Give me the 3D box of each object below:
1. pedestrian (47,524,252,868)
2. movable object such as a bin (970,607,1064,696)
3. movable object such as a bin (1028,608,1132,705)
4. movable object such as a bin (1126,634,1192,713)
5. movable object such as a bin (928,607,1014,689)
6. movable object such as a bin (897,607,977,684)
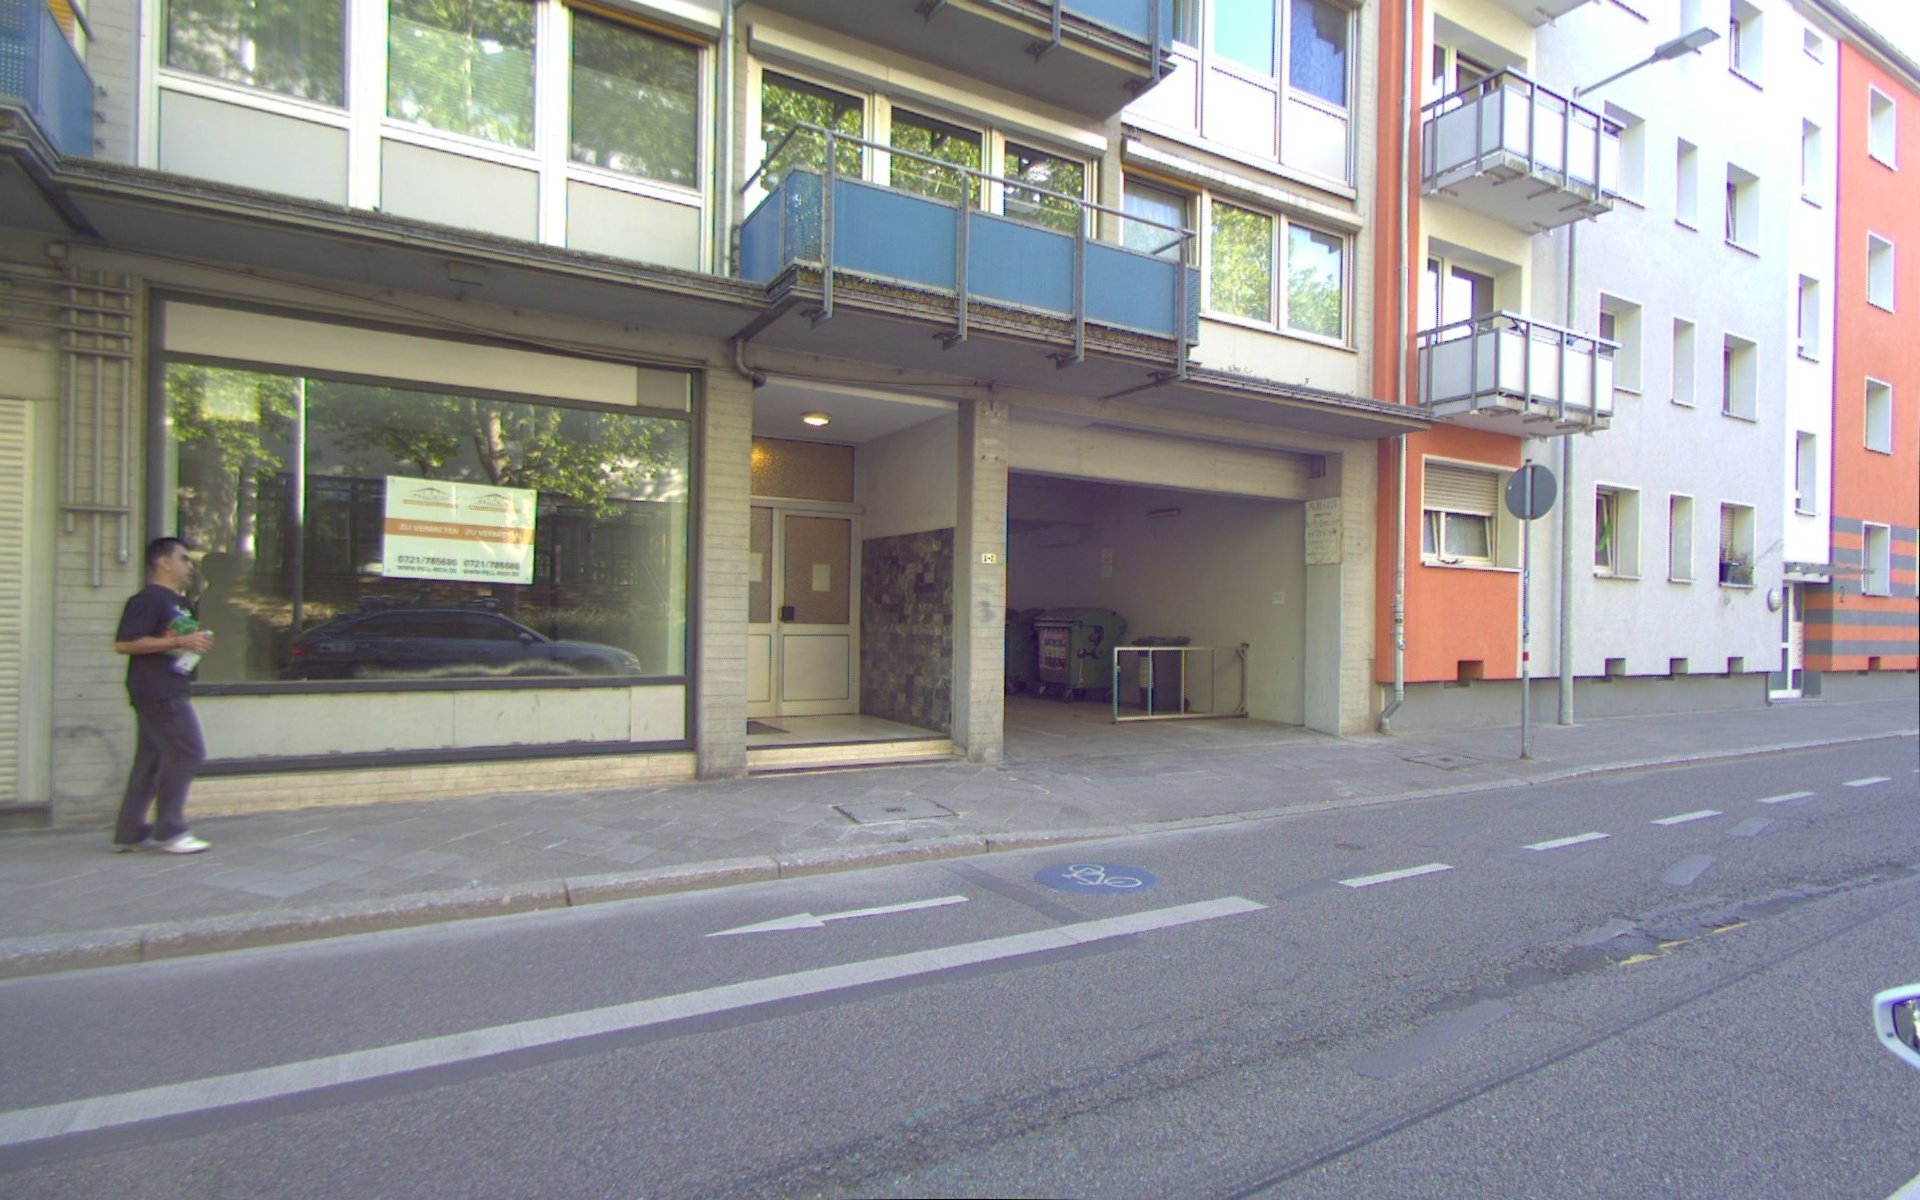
[{"bbox_3d":[-4.565,0.506,5.717,0.784,1.795,0.658,1,0,-30],"label":"pedestrian"},{"bbox_3d":[0.961,0.853,17.167,1.116,1.444,1.201,1,0,-30],"label":"movable object such as a bin"},{"bbox_3d":[1.873,0.860,15.808,1.116,1.444,1.201,1,0,-30],"label":"movable object such as a bin"},{"bbox_3d":[2.870,1.043,14.498,0.667,1.079,0.639,1,0,-30],"label":"movable object such as a bin"},{"bbox_3d":[0.190,0.859,18.466,1.116,1.444,1.201,1,0,-30],"label":"movable object such as a bin"},{"bbox_3d":[-0.457,0.865,19.614,1.116,1.444,1.201,1,0,-30],"label":"movable object such as a bin"}]
